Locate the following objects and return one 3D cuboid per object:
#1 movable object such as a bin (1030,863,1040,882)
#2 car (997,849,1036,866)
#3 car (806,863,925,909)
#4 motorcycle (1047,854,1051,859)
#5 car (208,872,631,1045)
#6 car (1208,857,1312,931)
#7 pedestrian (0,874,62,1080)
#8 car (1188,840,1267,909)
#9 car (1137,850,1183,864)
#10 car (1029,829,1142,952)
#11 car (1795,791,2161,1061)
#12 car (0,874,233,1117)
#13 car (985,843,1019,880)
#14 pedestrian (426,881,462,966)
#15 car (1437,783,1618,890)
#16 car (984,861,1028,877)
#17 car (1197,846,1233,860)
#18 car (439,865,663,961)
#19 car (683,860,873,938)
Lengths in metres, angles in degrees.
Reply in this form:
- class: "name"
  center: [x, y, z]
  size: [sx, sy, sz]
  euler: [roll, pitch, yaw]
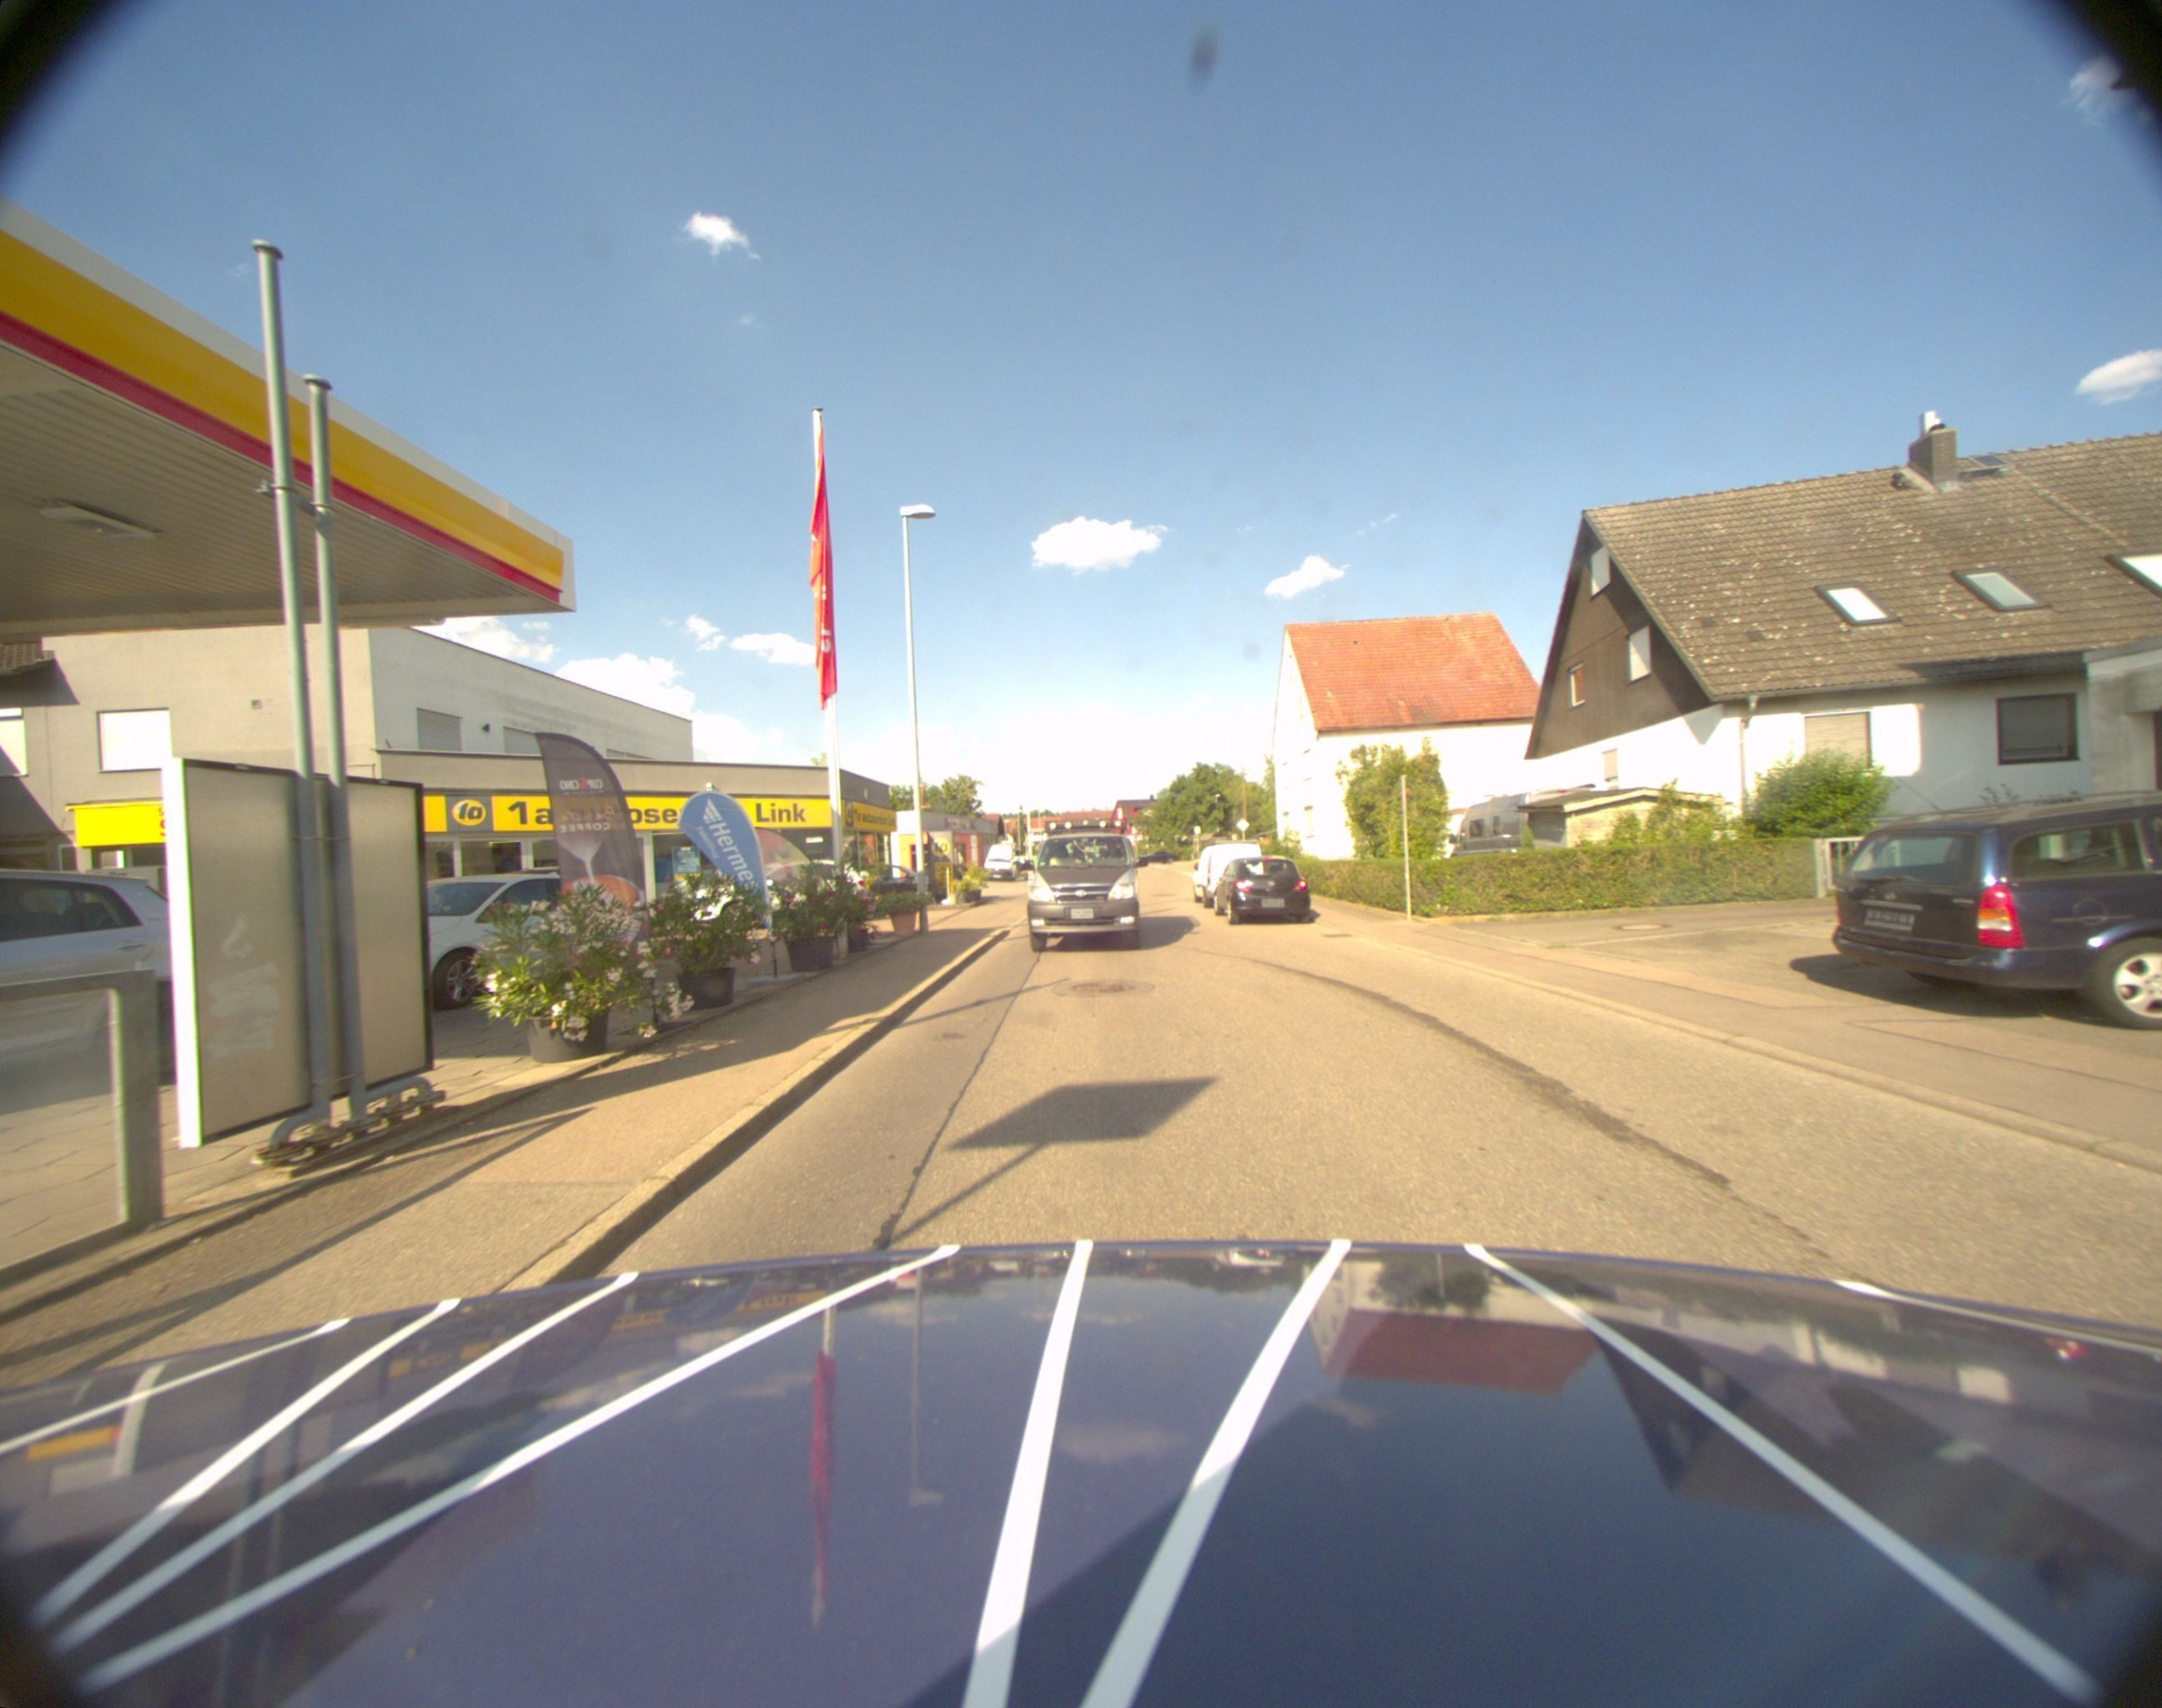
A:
- class: "movable object such as a bin"
  center: [-2.684, 1.096, 44.238]
  size: [0.568, 1.069, 0.572]
  euler: [-2, 1, -2]
- class: "car"
  center: [-6.937, 0.383, 81.697]
  size: [3.948, 1.594, 1.682]
  euler: [-2, 2, 2]
- class: "car"
  center: [-8.176, 1.207, 29.016]
  size: [3.996, 1.522, 1.528]
  euler: [-2, 1, 3]
- class: "motorcycle"
  center: [-6.390, 0.482, 151.942]
  size: [0.539, 1.007, 2.027]
  euler: [-5, 1, 2]
- class: "car"
  center: [-7.746, 1.088, 9.532]
  size: [1.676, 1.568, 3.999]
  euler: [-2, 0, 1]
- class: "car"
  center: [4.010, 0.827, 17.600]
  size: [1.676, 1.443, 3.835]
  euler: [-2, 0, 4]
- class: "pedestrian"
  center: [-9.050, 1.012, 6.249]
  size: [0.501, 1.660, 0.534]
  euler: [-3, 1, 2]
- class: "car"
  center: [4.312, 0.560, 22.949]
  size: [1.720, 1.862, 4.192]
  euler: [-2, 0, 3]
- class: "car"
  center: [8.915, 0.314, 85.830]
  size: [4.848, 1.423, 1.768]
  euler: [-3, 1, -20]
- class: "car"
  center: [0.096, 0.593, 15.013]
  size: [1.820, 1.988, 4.820]
  euler: [-2, 1, 1]
- class: "car"
  center: [8.052, 0.324, 5.320]
  size: [3.994, 1.529, 1.764]
  euler: [-7, -1, 13]
- class: "car"
  center: [-7.987, 0.979, 4.350]
  size: [1.676, 1.568, 3.999]
  euler: [-2, 0, 1]
- class: "car"
  center: [-5.372, 0.457, 52.459]
  size: [1.841, 2.361, 5.177]
  euler: [-2, 1, -2]
- class: "pedestrian"
  center: [-11.541, 1.242, 13.764]
  size: [0.432, 1.471, 0.623]
  euler: [-3, 1, -41]
- class: "car"
  center: [12.703, -0.452, 22.234]
  size: [2.163, 2.580, 6.097]
  euler: [-4, 0, 7]
- class: "car"
  center: [-7.366, 1.468, 74.810]
  size: [4.073, 1.409, 1.626]
  euler: [-1, 1, 4]
- class: "car"
  center: [16.314, -0.149, 92.655]
  size: [4.283, 1.483, 1.857]
  euler: [-2, 0, -37]
- class: "car"
  center: [-11.138, 1.134, 16.090]
  size: [3.694, 1.624, 1.672]
  euler: [-3, 2, -41]
- class: "car"
  center: [-7.540, 1.033, 19.108]
  size: [4.086, 1.665, 1.672]
  euler: [-1, 1, -41]
